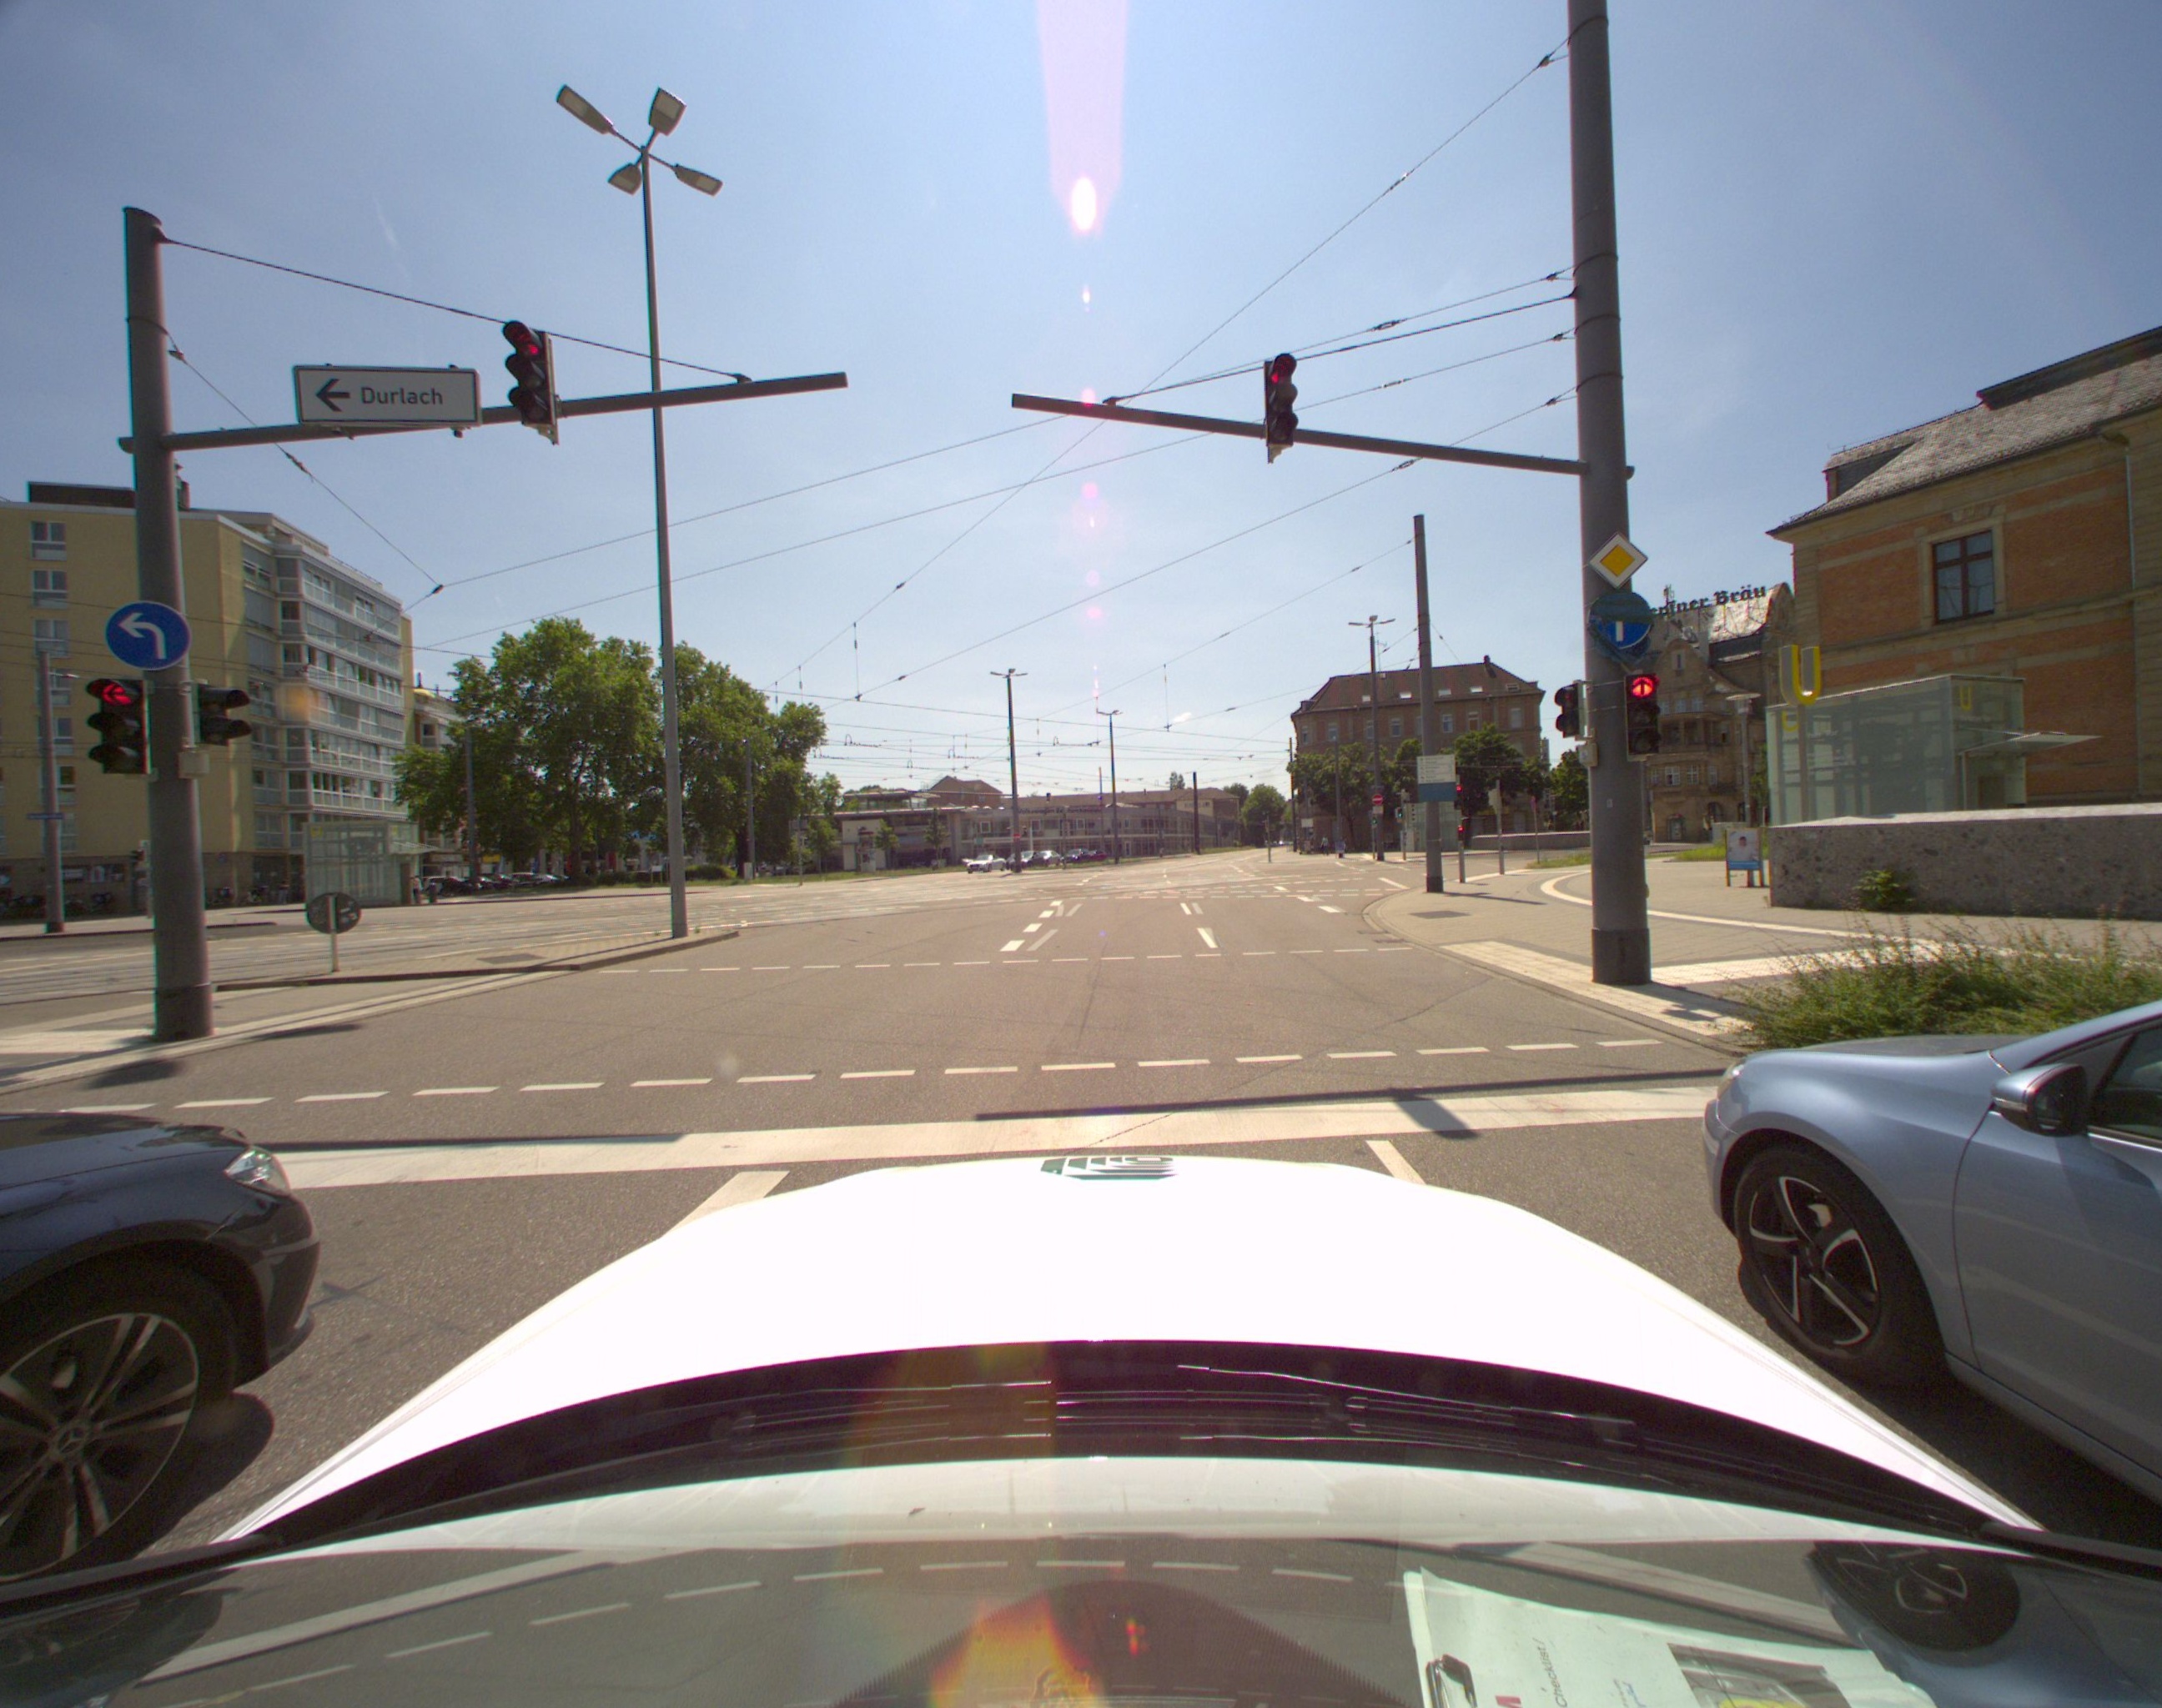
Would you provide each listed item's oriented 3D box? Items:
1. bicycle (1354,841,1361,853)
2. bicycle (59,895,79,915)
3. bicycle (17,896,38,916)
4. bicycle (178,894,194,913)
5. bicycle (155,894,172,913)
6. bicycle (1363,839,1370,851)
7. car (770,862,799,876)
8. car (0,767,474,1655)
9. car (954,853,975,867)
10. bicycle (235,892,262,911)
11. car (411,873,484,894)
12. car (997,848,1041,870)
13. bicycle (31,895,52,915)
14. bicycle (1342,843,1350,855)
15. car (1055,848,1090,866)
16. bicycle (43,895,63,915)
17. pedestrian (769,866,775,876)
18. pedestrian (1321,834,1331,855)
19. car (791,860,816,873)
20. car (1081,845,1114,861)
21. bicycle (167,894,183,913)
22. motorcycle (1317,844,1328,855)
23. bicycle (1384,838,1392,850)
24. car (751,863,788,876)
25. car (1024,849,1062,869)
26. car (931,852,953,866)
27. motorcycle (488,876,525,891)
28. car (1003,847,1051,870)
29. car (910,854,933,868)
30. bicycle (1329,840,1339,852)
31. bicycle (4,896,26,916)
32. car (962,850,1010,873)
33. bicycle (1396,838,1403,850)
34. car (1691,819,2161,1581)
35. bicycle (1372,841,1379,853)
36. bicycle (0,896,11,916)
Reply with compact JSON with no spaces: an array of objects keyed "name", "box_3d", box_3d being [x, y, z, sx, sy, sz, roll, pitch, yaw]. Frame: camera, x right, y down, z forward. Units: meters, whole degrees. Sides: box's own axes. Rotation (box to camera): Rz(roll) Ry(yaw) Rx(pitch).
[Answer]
[{"name":"bicycle","box_3d":[26.583,-0.726,78.362,0.546,1.120,1.829,-2,0,19]},{"name":"bicycle","box_3d":[-55.906,2.807,44.996,0.435,1.026,1.426,-2,0,-42]},{"name":"bicycle","box_3d":[-57.398,2.812,44.366,0.435,1.026,1.426,-2,0,-42]},{"name":"bicycle","box_3d":[-50.796,2.781,46.232,0.435,1.026,1.426,-2,0,-42]},{"name":"bicycle","box_3d":[-51.684,2.784,45.876,0.435,1.026,1.426,-2,0,-42]},{"name":"bicycle","box_3d":[27.355,-0.897,78.041,0.546,1.119,1.829,-2,0,18]},{"name":"car","box_3d":[-37.400,1.882,102.830,1.760,1.510,4.330,-2,0,3]},{"name":"car","box_3d":[-2.960,0.676,0.234,1.790,1.640,4.808,-1,0,3]},{"name":"car","box_3d":[-14.415,0.787,100.849,1.913,1.707,4.002,0,-1,2]},{"name":"bicycle","box_3d":[-49.269,2.789,48.207,0.432,1.026,1.437,-2,0,-14]},{"name":"car","box_3d":[-49.234,2.260,63.344,4.001,1.420,1.987,-2,0,-20]},{"name":"car","box_3d":[-5.316,0.418,70.624,1.977,1.700,4.870,-2,0,19]},{"name":"bicycle","box_3d":[-56.910,2.811,44.602,0.435,1.026,1.426,-2,0,-42]},{"name":"bicycle","box_3d":[25.671,-0.477,78.969,0.440,1.146,2.099,-1,-1,9]},{"name":"car","box_3d":[-0.875,0.287,84.245,2.061,1.682,4.870,-2,0,19]},{"name":"bicycle","box_3d":[-56.404,2.808,44.676,0.435,1.026,1.426,-2,0,-42]},{"name":"pedestrian","box_3d":[-37.468,2.012,98.774,0.510,1.204,0.446,-2,0,7]},{"name":"pedestrian","box_3d":[20.819,-0.784,69.088,0.463,1.708,0.635,-2,0,-23]},{"name":"car","box_3d":[-34.760,1.527,102.250,1.763,1.510,4.322,-2,0,-3]},{"name":"car","box_3d":[1.943,-0.094,94.912,1.974,1.776,4.025,-1,-1,36]},{"name":"bicycle","box_3d":[-51.219,2.782,46.044,0.435,1.026,1.426,-2,0,-42]},{"name":"motorcycle","box_3d":[23.313,-0.439,78.650,0.577,1.074,1.949,-2,0,6]},{"name":"bicycle","box_3d":[29.479,-0.929,78.197,0.546,1.120,1.879,-2,0,18]},{"name":"car","box_3d":[-41.555,2.007,108.613,4.343,1.510,1.754,-3,0,-33]},{"name":"car","box_3d":[-3.505,0.436,76.528,1.977,1.739,4.565,-2,0,19]},{"name":"car","box_3d":[-17.126,0.608,100.654,1.913,1.707,4.002,0,-1,2]},{"name":"motorcycle","box_3d":[-39.114,1.997,55.464,1.925,0.961,0.521,-2,0,-29]},{"name":"car","box_3d":[-4.227,0.354,64.766,1.977,1.637,4.870,-2,0,19]},{"name":"car","box_3d":[-19.651,0.824,100.704,1.913,1.707,4.002,0,-1,2]},{"name":"bicycle","box_3d":[24.341,-0.756,78.449,0.548,1.120,1.823,-2,0,5]},{"name":"bicycle","box_3d":[-57.853,2.814,44.208,0.435,1.026,1.426,-2,0,-42]},{"name":"car","box_3d":[-7.472,0.555,64.532,2.061,1.580,4.866,-2,0,15]},{"name":"bicycle","box_3d":[30.524,-0.954,78.073,0.546,1.120,1.938,-2,0,18]},{"name":"car","box_3d":[2.860,0.656,0.780,1.645,1.459,4.005,-1,0,2]},{"name":"bicycle","box_3d":[28.143,-0.661,77.895,0.546,1.120,1.898,-2,0,18]},{"name":"bicycle","box_3d":[-58.453,2.817,44.057,0.435,1.026,1.426,-2,0,-42]}]
